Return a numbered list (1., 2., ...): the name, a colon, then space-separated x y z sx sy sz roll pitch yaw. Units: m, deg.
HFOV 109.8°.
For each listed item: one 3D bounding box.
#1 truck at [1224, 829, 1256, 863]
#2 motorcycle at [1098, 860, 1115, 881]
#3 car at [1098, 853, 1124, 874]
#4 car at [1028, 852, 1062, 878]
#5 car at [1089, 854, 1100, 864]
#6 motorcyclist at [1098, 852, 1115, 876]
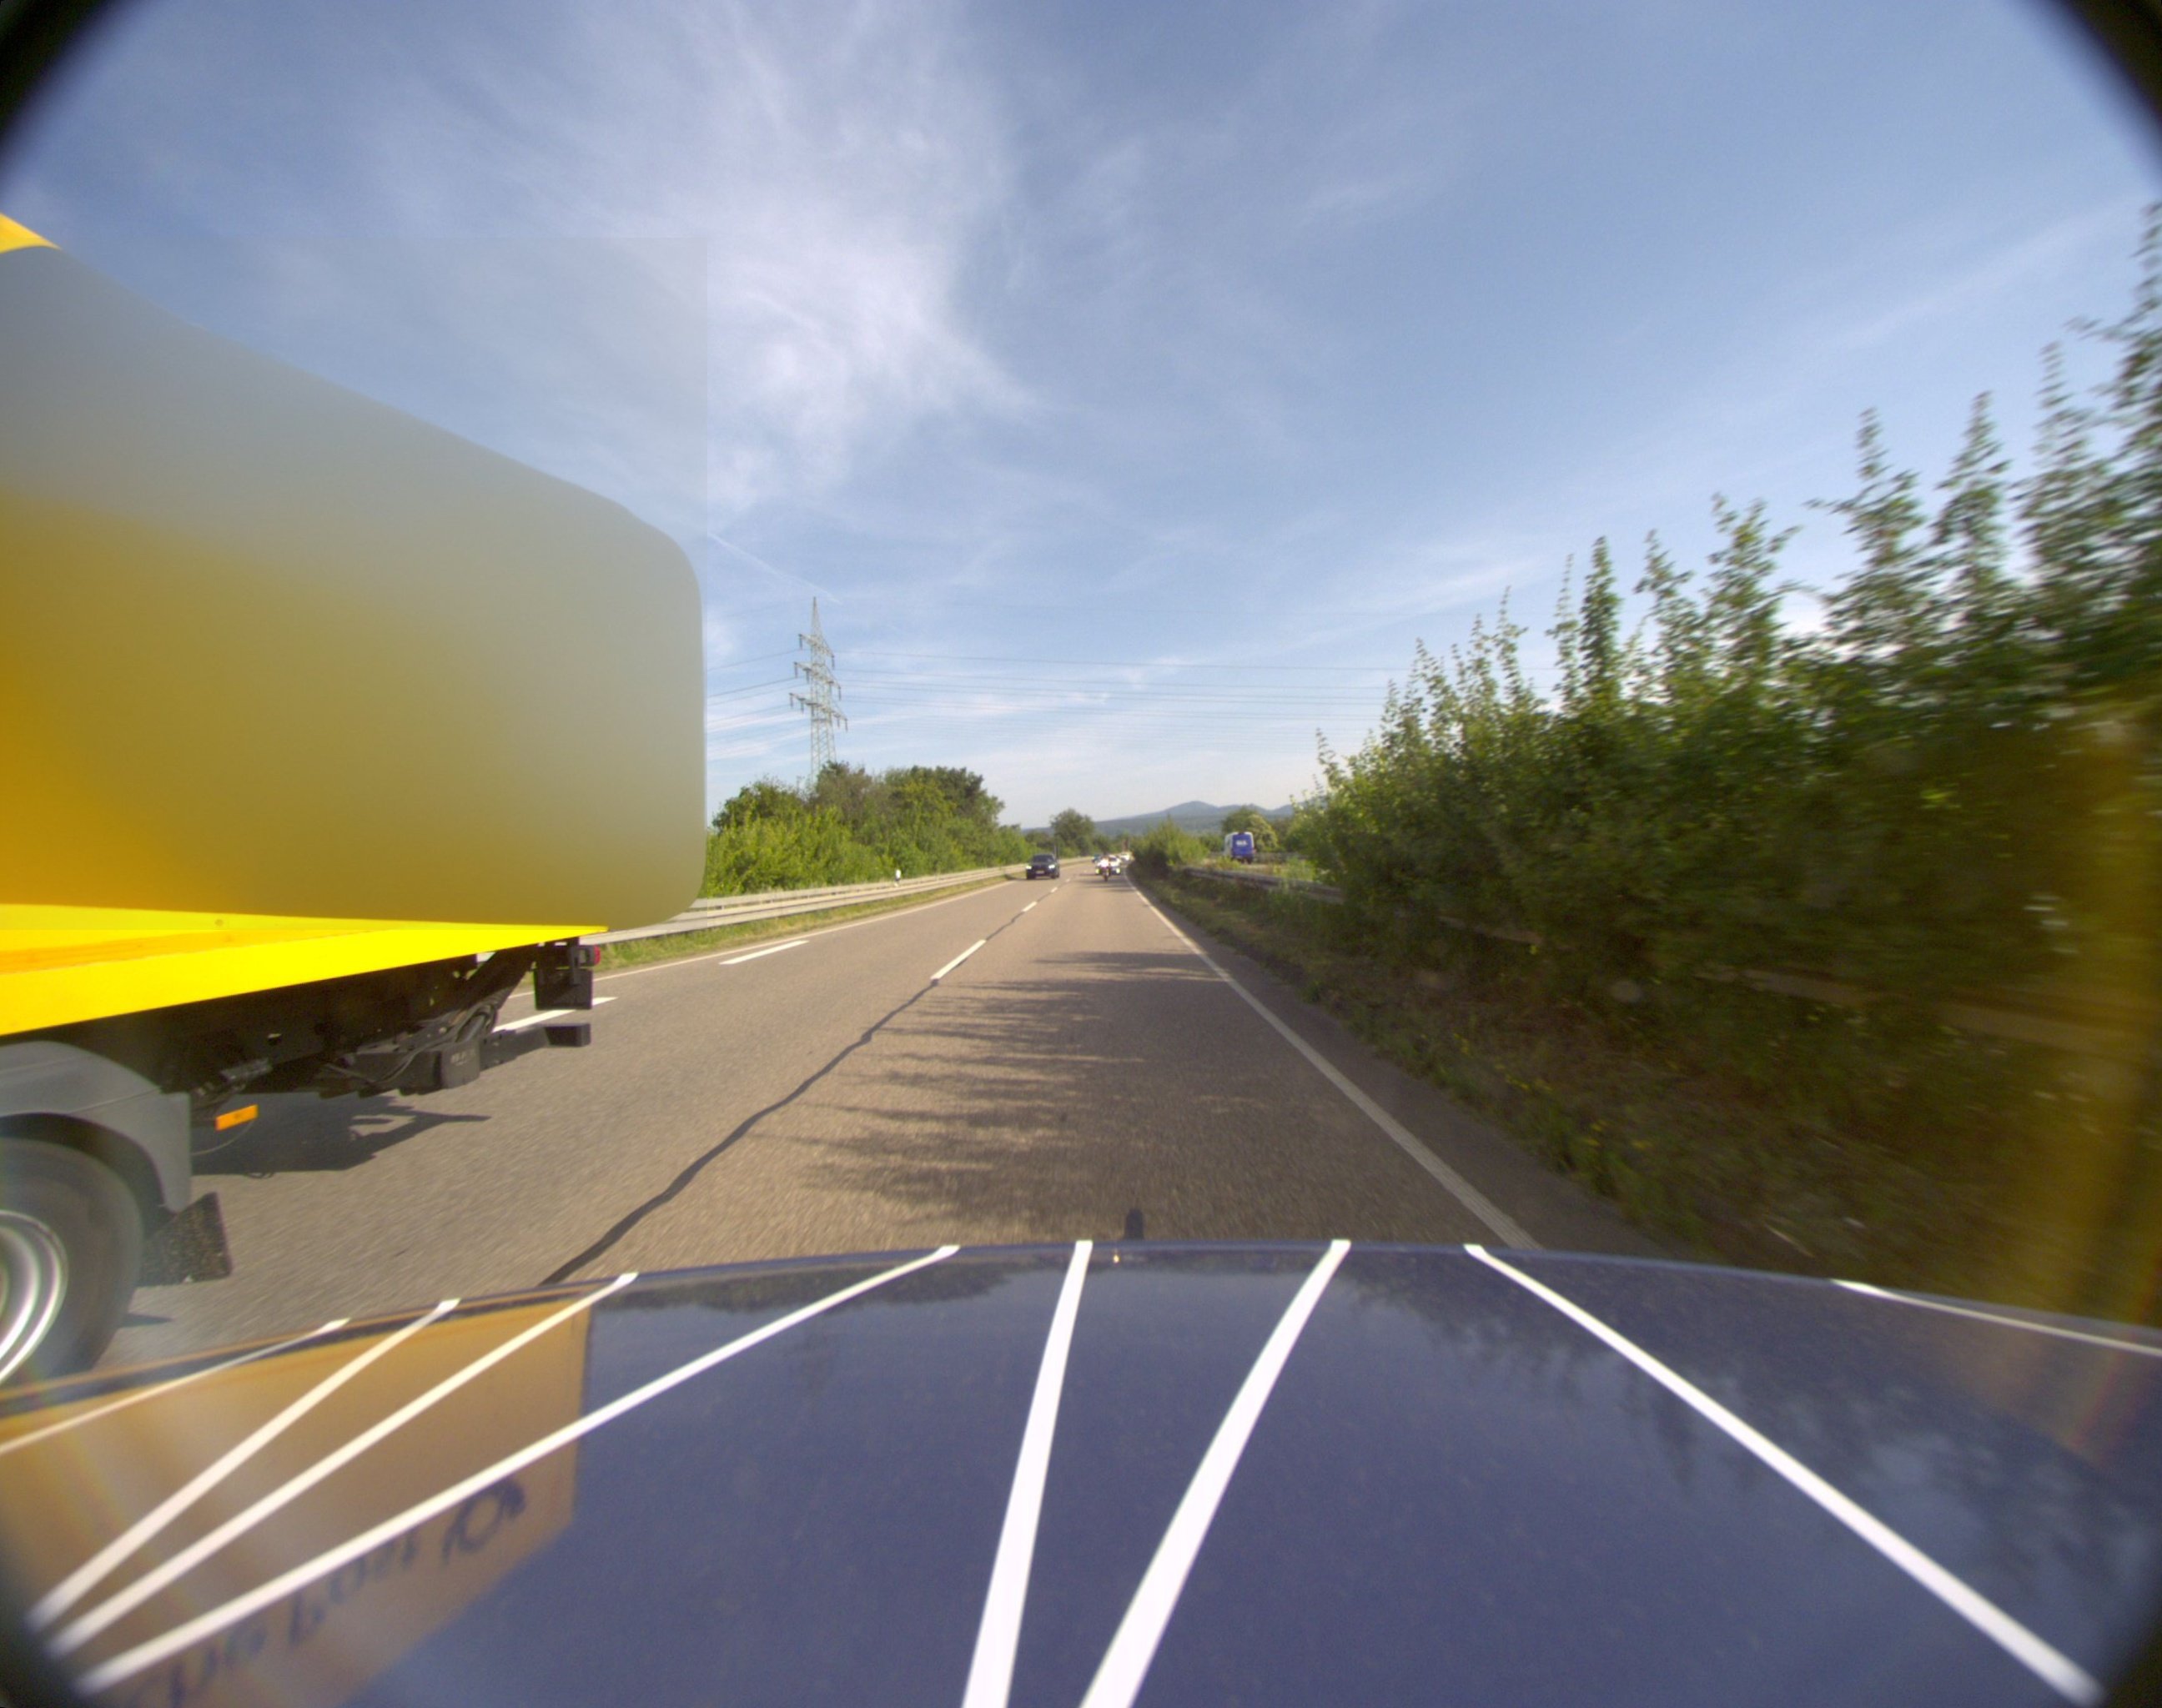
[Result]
1. truck: 14.145 -0.708 67.976 2.021 2.839 5.045 -2 0 3
2. motorcycle: 1.535 0.949 45.155 0.937 1.131 2.582 -1 1 3
3. car: 2.264 0.705 58.410 1.869 1.454 4.083 -2 1 2
4. car: -2.440 0.729 52.185 1.877 1.630 4.001 -1 1 3
5. car: 2.234 0.750 124.736 1.677 1.541 3.827 -2 1 2
6. motorcyclist: 1.537 0.580 45.122 0.937 1.344 1.143 -1 1 3
